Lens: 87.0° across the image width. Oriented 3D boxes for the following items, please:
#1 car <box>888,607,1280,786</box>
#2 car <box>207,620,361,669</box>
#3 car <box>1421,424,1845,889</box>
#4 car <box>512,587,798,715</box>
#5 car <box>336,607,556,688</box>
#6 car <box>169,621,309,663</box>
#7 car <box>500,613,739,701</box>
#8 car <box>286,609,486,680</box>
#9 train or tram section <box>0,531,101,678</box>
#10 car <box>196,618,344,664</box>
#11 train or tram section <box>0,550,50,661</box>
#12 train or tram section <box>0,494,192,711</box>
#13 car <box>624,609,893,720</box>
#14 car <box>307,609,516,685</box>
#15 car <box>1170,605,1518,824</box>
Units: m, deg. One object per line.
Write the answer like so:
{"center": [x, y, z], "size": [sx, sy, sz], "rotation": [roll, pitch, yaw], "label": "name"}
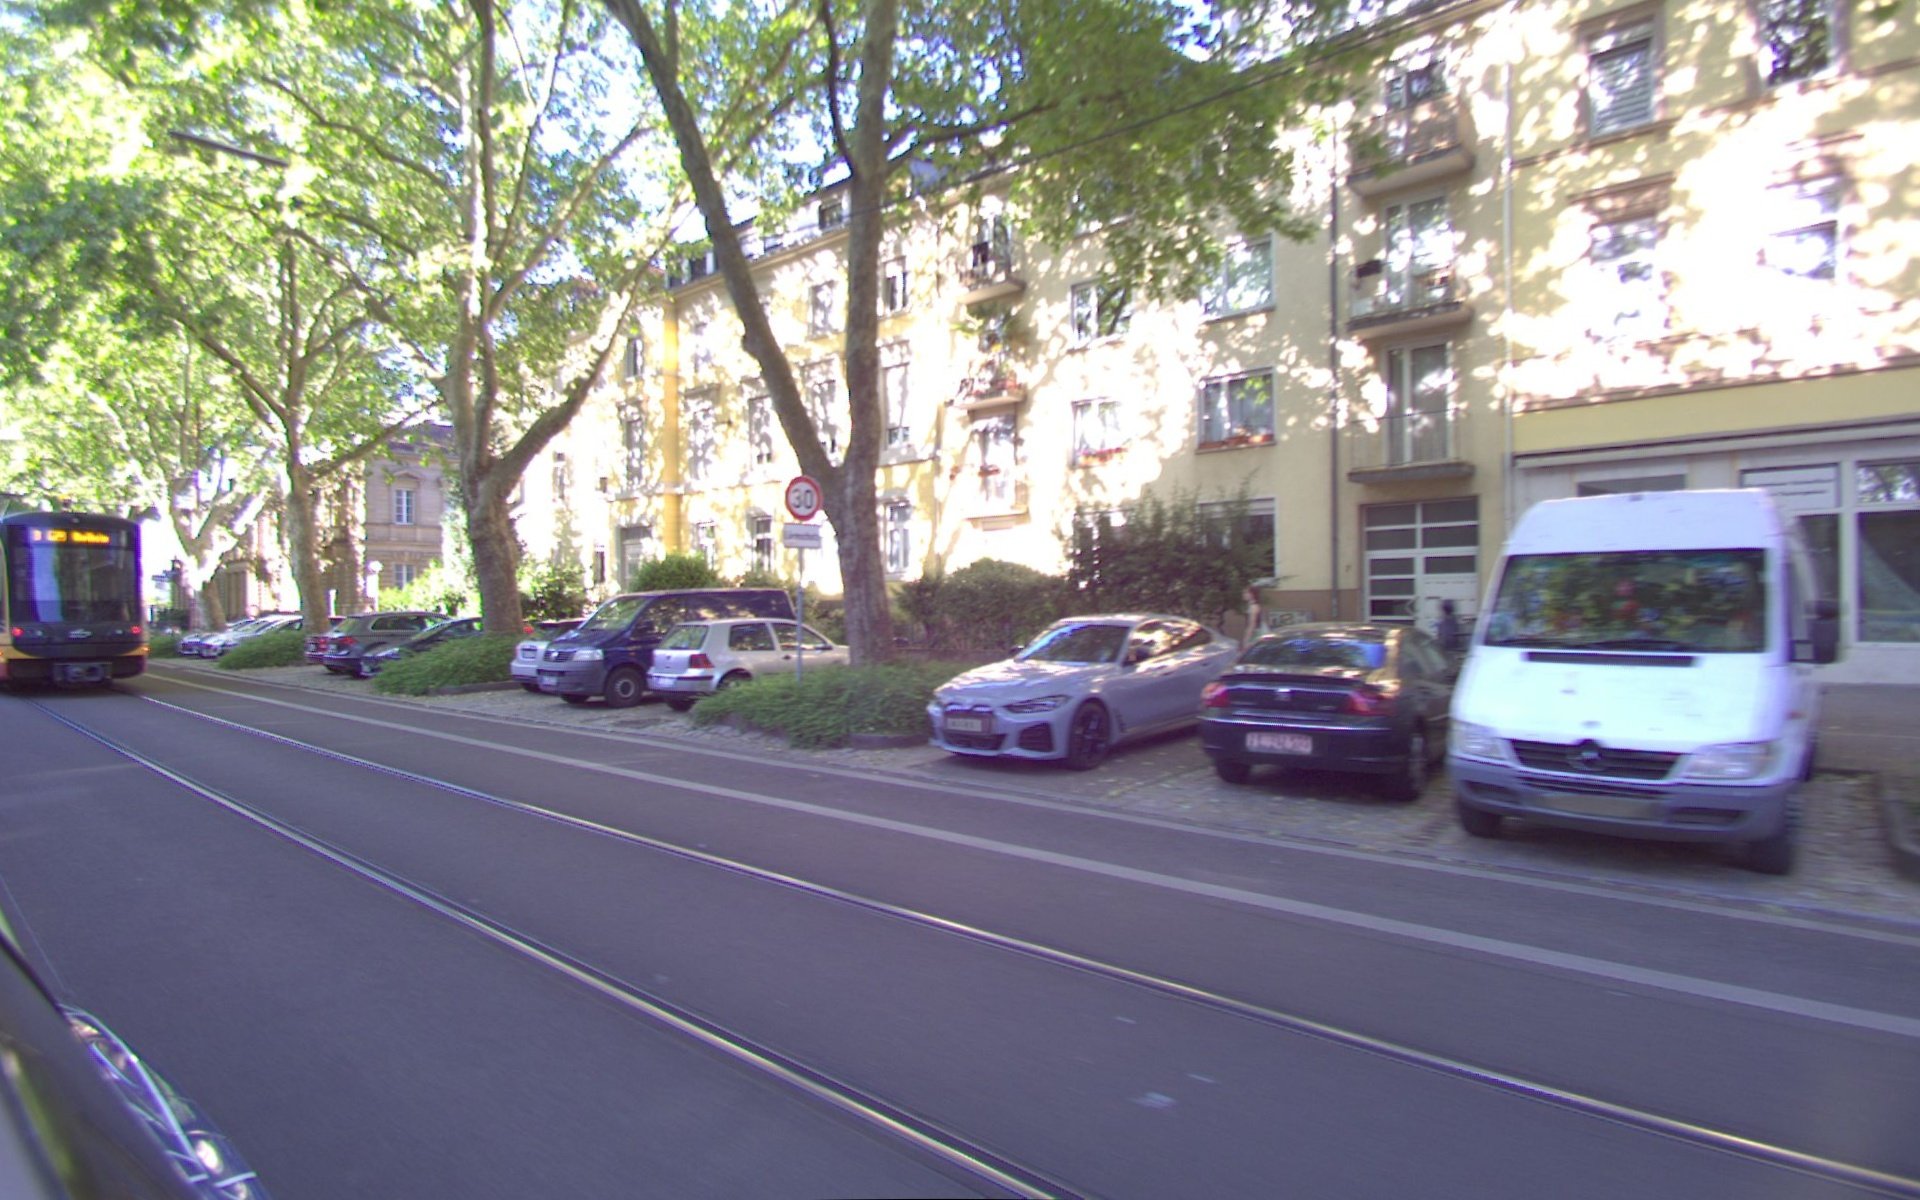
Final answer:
{"center": [1.644, 0.919, 11.689], "size": [2.000, 1.456, 4.878], "rotation": [-2, 0, 43], "label": "car"}
{"center": [-22.083, 1.403, 33.178], "size": [1.526, 1.441, 3.949], "rotation": [-1, -1, 38], "label": "car"}
{"center": [5.960, 0.227, 8.399], "size": [1.999, 2.426, 6.533], "rotation": [-2, 0, 41], "label": "car"}
{"center": [-5.328, 0.800, 18.209], "size": [1.920, 1.922, 4.581], "rotation": [-2, 0, 40], "label": "car"}
{"center": [-12.368, 1.085, 24.558], "size": [1.999, 1.625, 4.309], "rotation": [-2, 0, 42], "label": "car"}
{"center": [-26.268, 1.498, 36.965], "size": [1.410, 1.385, 3.949], "rotation": [-1, -1, 38], "label": "car"}
{"center": [-6.769, 1.072, 20.503], "size": [1.657, 1.418, 4.309], "rotation": [-2, 0, 41], "label": "car"}
{"center": [-15.586, 1.155, 27.655], "size": [1.999, 1.625, 4.309], "rotation": [-2, 0, 42], "label": "car"}
{"center": [-27.630, 0.137, 29.241], "size": [11.258, 3.646, 2.905], "rotation": [-1, 1, 43], "label": "train or tram section"}
{"center": [-23.830, 1.365, 35.069], "size": [1.599, 1.441, 3.949], "rotation": [-1, -1, 38], "label": "car"}
{"center": [-36.304, 0.224, 37.311], "size": [12.410, 3.646, 2.905], "rotation": [-1, 1, 43], "label": "train or tram section"}
{"center": [-19.457, 0.050, 21.637], "size": [11.062, 3.646, 2.905], "rotation": [-1, 1, 43], "label": "train or tram section"}
{"center": [-3.197, 0.960, 16.642], "size": [1.868, 1.456, 4.016], "rotation": [-2, 0, 42], "label": "car"}
{"center": [-14.071, 1.148, 26.146], "size": [1.999, 1.625, 4.309], "rotation": [-2, 0, 42], "label": "car"}
{"center": [3.871, 0.871, 9.755], "size": [1.903, 1.509, 4.103], "rotation": [-1, 1, 40], "label": "car"}
